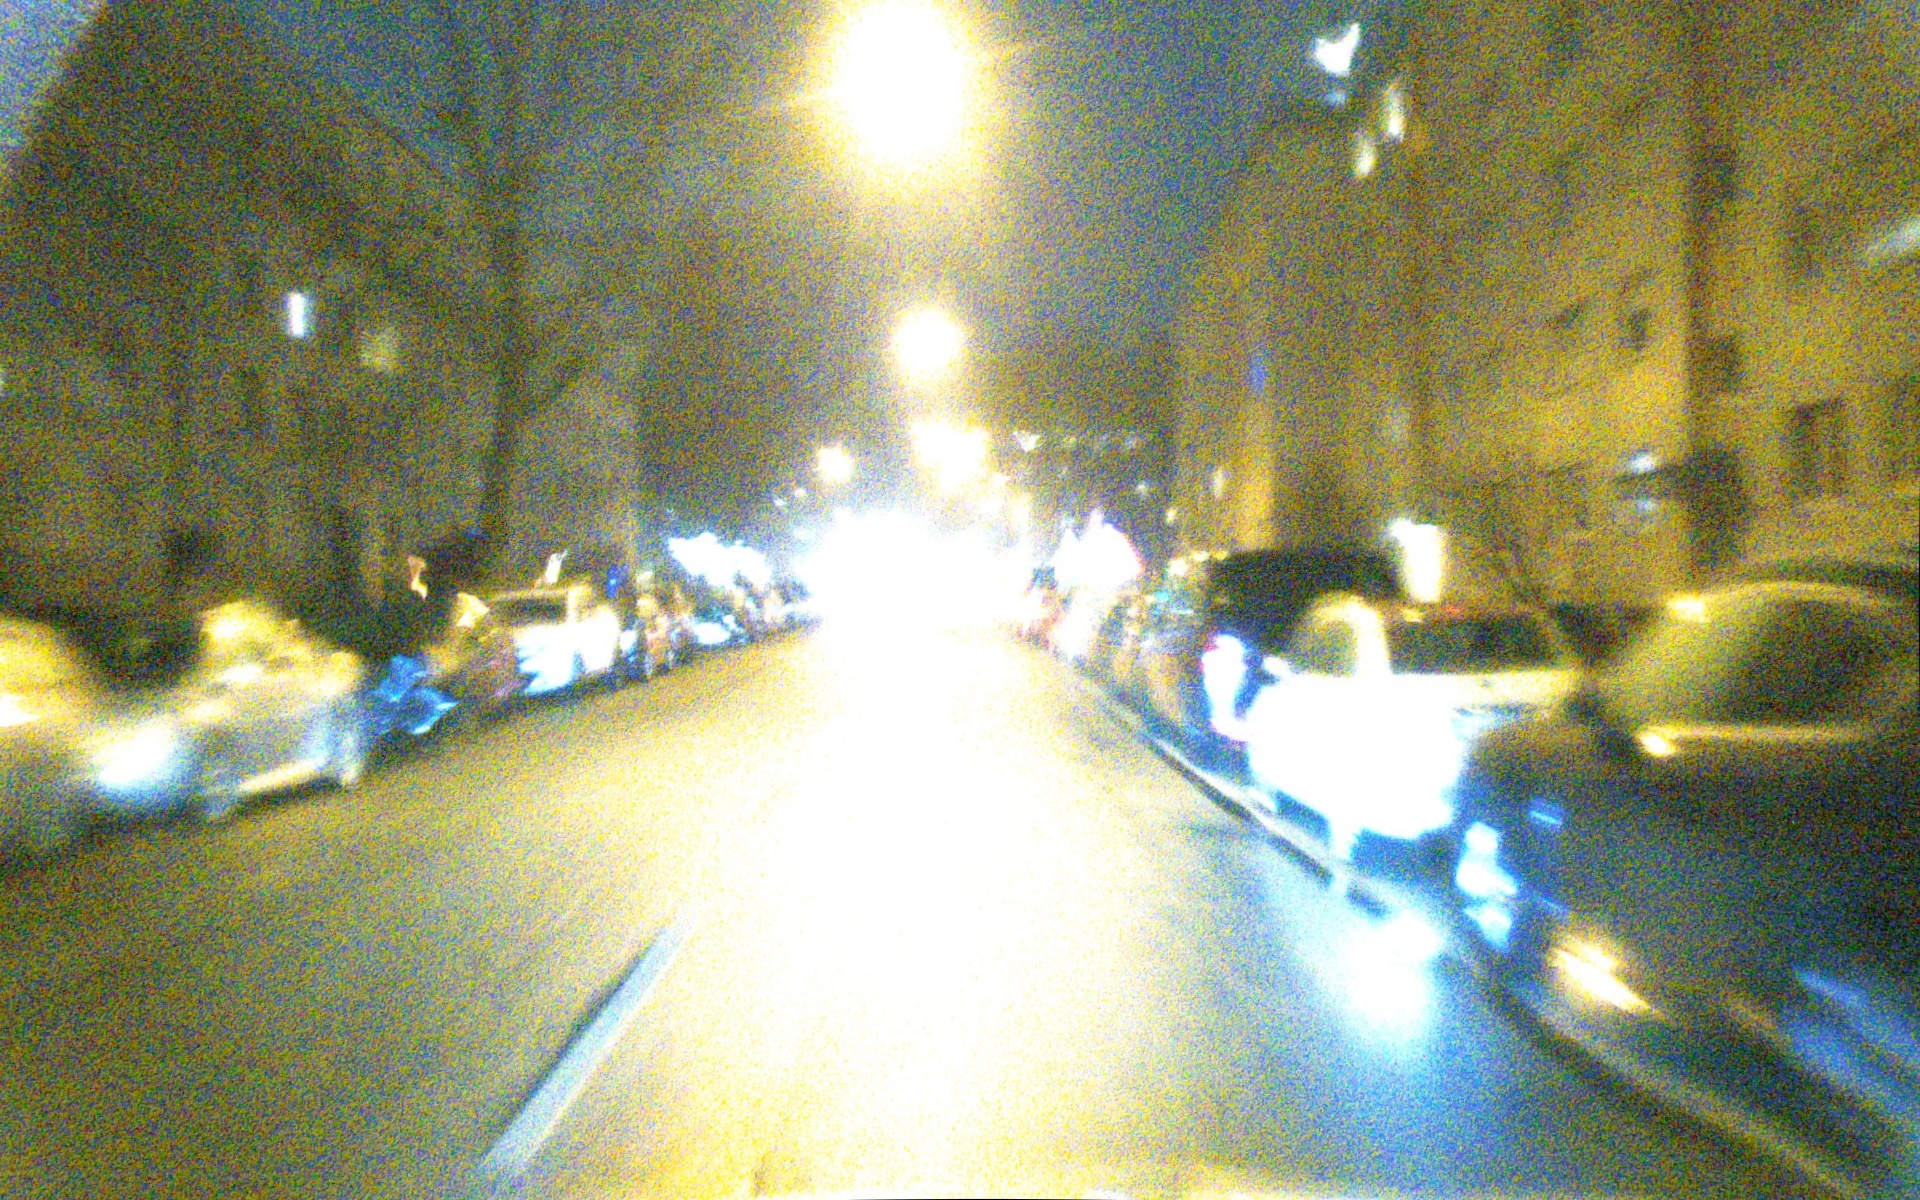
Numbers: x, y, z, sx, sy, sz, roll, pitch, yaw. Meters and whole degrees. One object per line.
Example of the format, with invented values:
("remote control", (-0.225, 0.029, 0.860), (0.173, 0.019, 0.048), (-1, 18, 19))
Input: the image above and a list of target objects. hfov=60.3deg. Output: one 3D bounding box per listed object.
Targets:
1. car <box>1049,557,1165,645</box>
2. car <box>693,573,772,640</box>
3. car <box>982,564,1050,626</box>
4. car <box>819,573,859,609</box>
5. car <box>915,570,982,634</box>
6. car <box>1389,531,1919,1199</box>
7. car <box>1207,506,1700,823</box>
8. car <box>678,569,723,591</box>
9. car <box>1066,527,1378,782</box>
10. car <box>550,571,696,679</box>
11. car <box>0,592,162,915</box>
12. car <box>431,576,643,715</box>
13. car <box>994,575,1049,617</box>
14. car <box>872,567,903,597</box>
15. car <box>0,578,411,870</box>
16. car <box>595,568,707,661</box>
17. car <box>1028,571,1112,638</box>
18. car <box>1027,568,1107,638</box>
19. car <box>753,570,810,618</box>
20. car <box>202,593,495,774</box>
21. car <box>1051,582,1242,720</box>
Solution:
("car", (2.786, -0.024, 32.164), (1.641, 1.513, 4.278), (-3, 1, -2))
("car", (-5.745, 0.132, 42.109), (1.402, 1.485, 3.375), (-5, 1, 1))
("car", (1.580, -0.190, 47.180), (1.787, 1.574, 4.354), (-3, 1, 2))
("car", (-6.035, -0.490, 82.814), (1.566, 1.590, 4.380), (-5, 1, 0))
("car", (-0.394, 0.018, 56.299), (2.124, 2.006, 4.302), (-2, 1, -1))
("car", (2.957, 0.610, 4.919), (1.831, 1.607, 4.745), (-3, 1, -3))
("car", (2.909, 0.297, 10.697), (1.760, 1.574, 3.949), (-3, 1, -3))
("car", (-19.147, -1.495, 122.277), (1.677, 1.456, 3.921), (-1, 1, 18))
("car", (2.329, 0.384, 16.386), (1.760, 1.983, 5.851), (-3, 1, -3))
("car", (-5.637, 0.354, 28.164), (1.633, 1.566, 4.389), (-5, 1, -2))
("car", (-5.195, 0.772, 6.657), (1.586, 1.443, 4.676), (-3, 1, 1))
("car", (-5.710, 0.543, 22.876), (1.632, 1.566, 4.392), (-5, 1, 1))
("car", (2.311, -0.189, 63.152), (1.786, 1.446, 4.487), (-3, 1, -1))
("car", (-5.467, -1.388, 124.293), (1.994, 1.987, 5.196), (-4, 2, -4))
("car", (-5.433, 0.693, 11.540), (1.631, 1.566, 4.392), (-3, 1, 1))
("car", (-6.208, 0.238, 33.643), (1.713, 1.625, 4.386), (-5, 1, -5))
("car", (2.393, 0.068, 36.632), (1.427, 1.329, 3.627), (-3, 1, -2))
("car", (2.676, 0.029, 42.396), (1.718, 1.574, 4.978), (-3, 1, 1))
("car", (-6.080, -0.227, 56.673), (1.566, 1.456, 4.003), (-5, 1, -2))
("car", (-6.438, 0.782, 17.940), (1.632, 1.566, 4.389), (-3, 1, -3))
("car", (2.340, 0.578, 21.738), (1.760, 1.517, 4.126), (-3, 1, -3))
